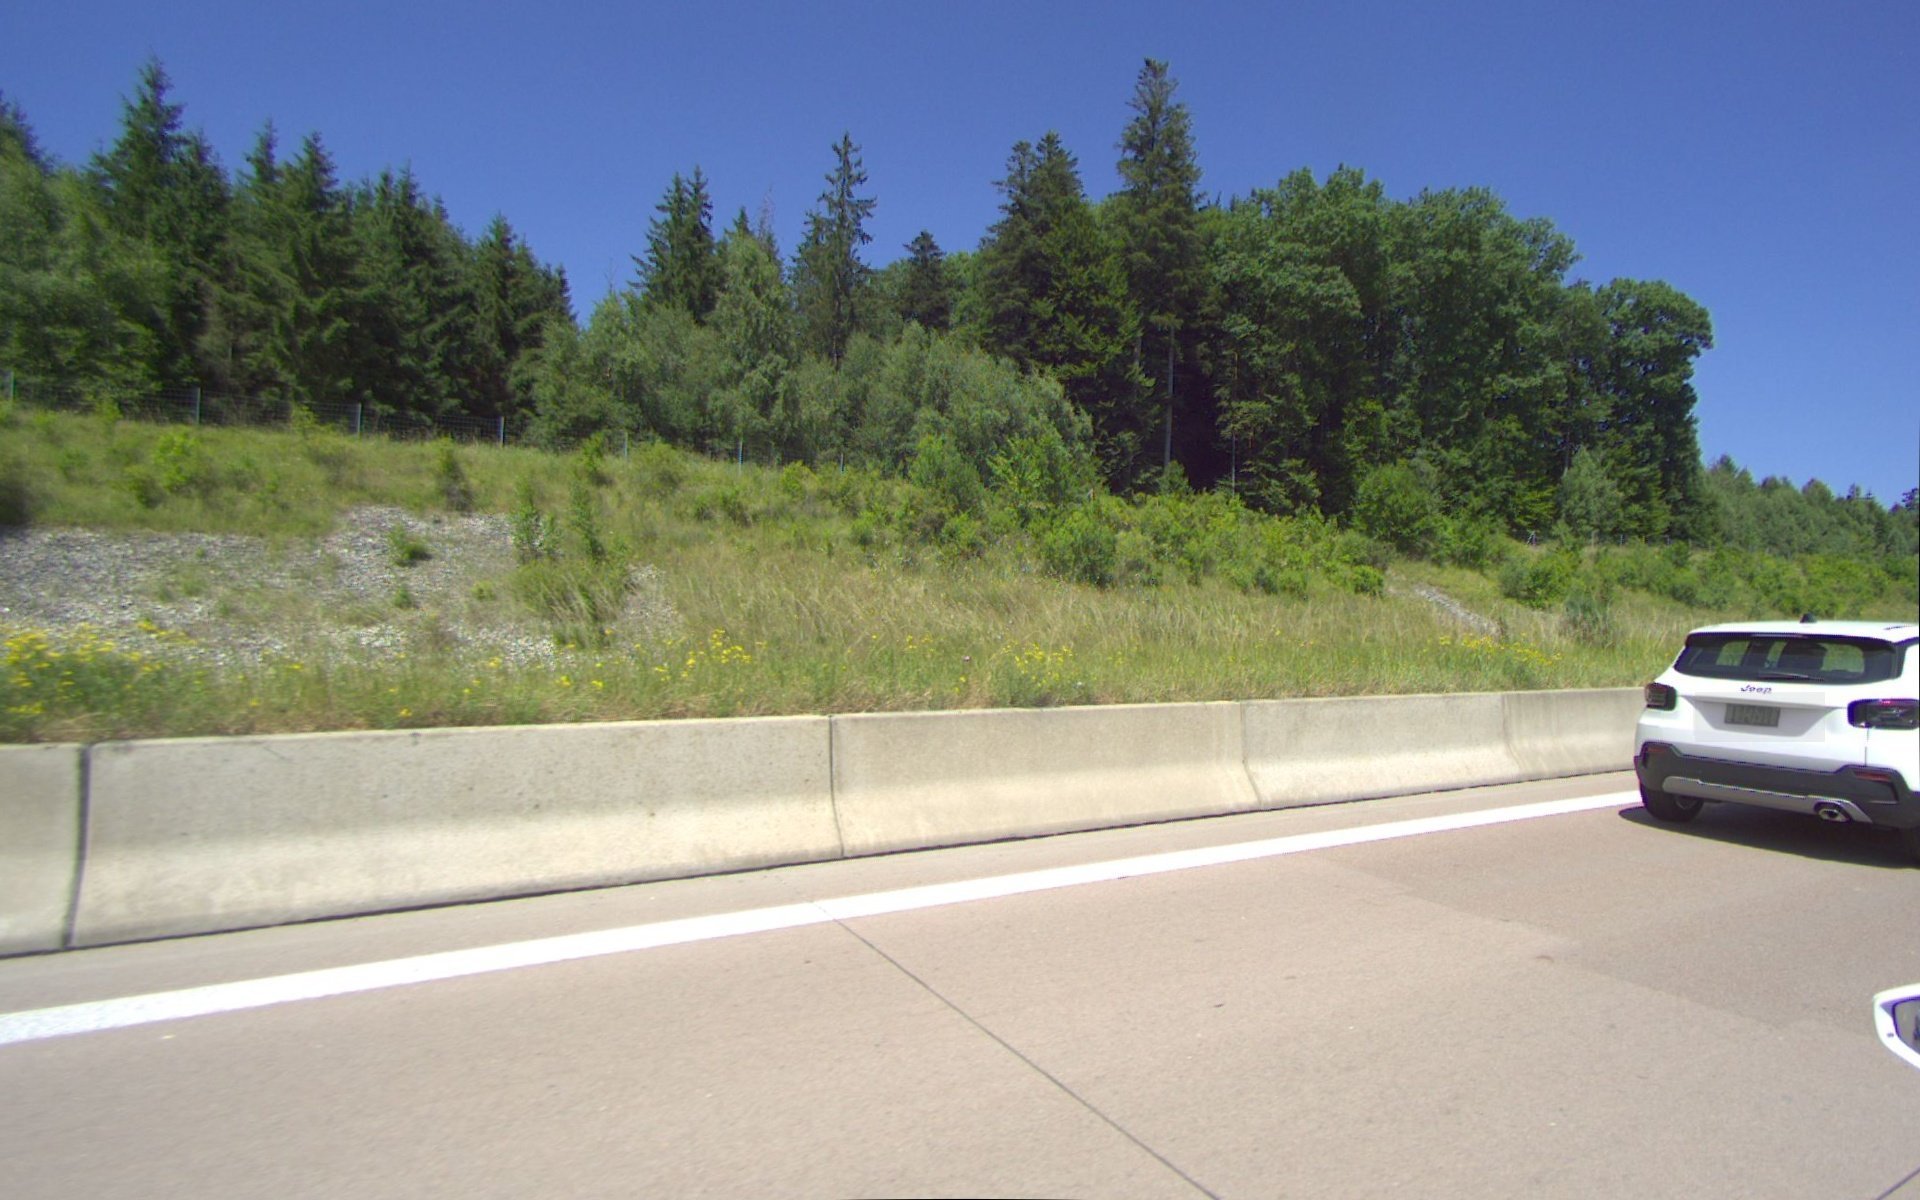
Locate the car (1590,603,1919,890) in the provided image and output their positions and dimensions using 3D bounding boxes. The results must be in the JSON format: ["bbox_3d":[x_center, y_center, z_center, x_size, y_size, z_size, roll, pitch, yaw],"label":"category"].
[{"bbox_3d":[7.120,0.899,7.719,4.777,1.629,1.870,2,-1,-30],"label":"car"}]
